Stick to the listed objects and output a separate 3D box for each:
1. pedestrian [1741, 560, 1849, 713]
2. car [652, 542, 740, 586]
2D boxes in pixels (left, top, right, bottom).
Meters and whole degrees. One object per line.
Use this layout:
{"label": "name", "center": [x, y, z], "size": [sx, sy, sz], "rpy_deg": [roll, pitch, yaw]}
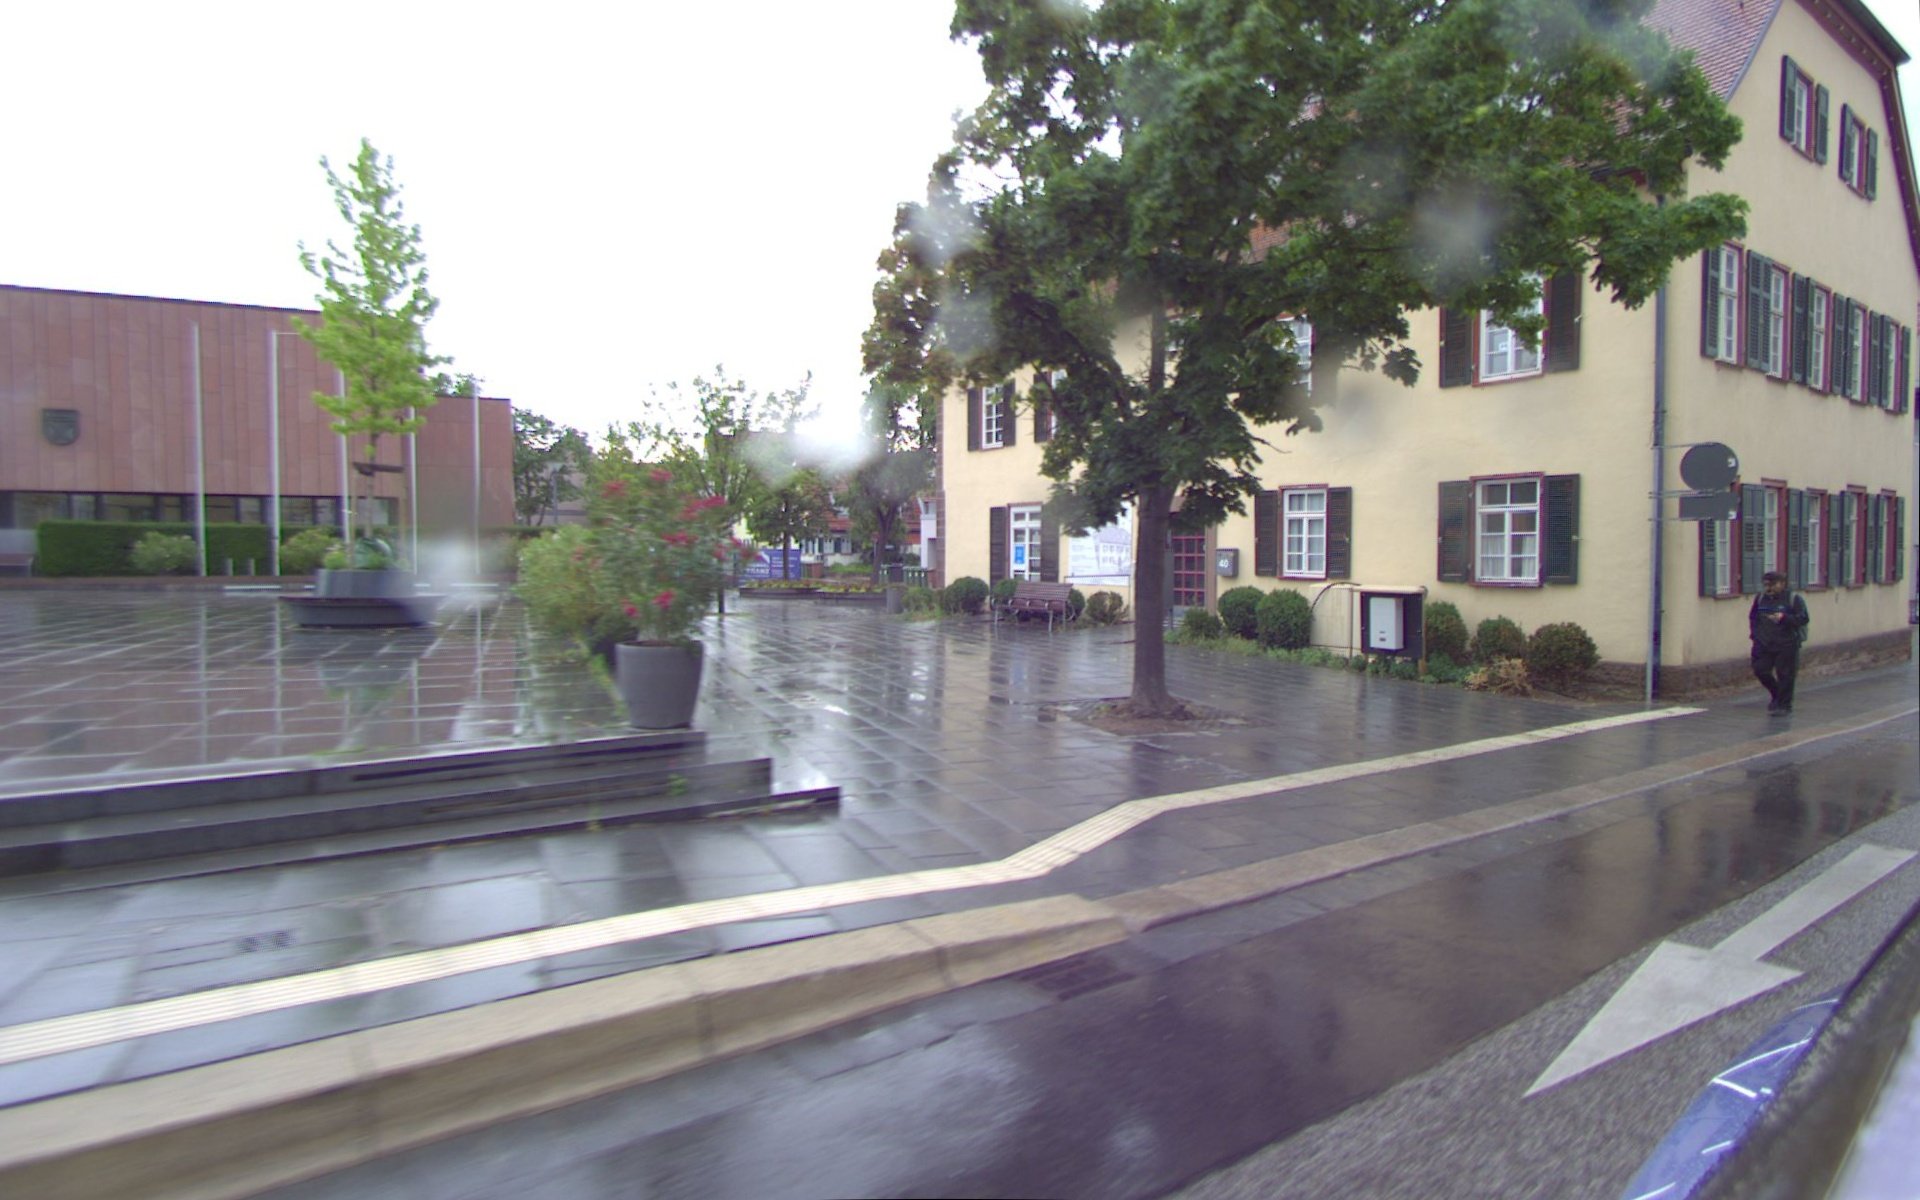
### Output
{"label": "pedestrian", "center": [9.850, 0.399, 11.940], "size": [0.851, 1.714, 0.717], "rpy_deg": [1, 2, -34]}
{"label": "car", "center": [-14.114, -1.927, 54.114], "size": [4.286, 2.244, 2.004], "rpy_deg": [0, 3, -25]}
